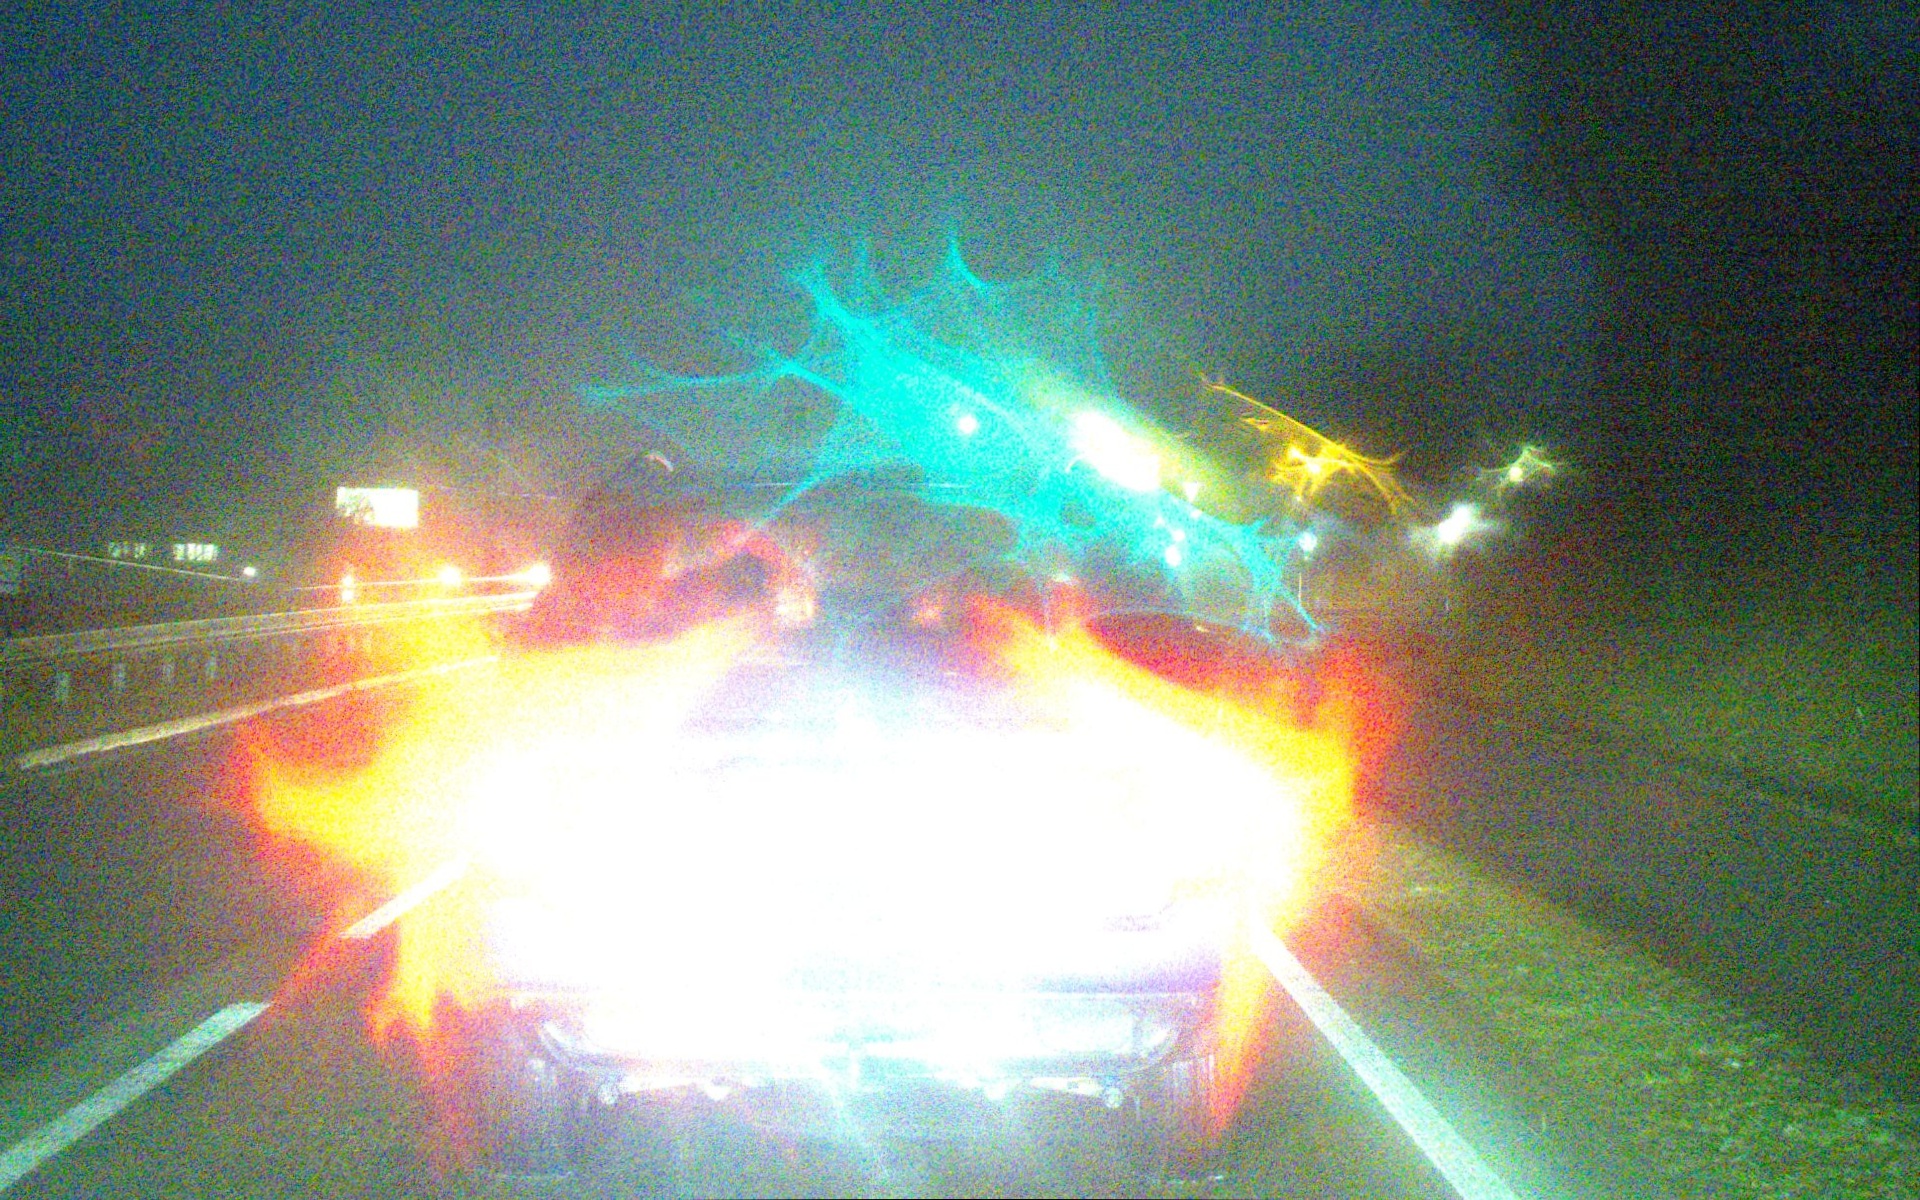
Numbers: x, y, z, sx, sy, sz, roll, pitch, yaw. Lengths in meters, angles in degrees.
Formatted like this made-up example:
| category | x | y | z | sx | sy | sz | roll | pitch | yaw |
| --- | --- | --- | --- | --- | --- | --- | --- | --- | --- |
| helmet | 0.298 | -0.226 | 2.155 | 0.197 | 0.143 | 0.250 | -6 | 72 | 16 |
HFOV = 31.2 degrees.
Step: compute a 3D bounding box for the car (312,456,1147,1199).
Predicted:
| category | x | y | z | sx | sy | sz | roll | pitch | yaw |
| --- | --- | --- | --- | --- | --- | --- | --- | --- | --- |
| car | -0.499 | 0.543 | 9.380 | 1.775 | 1.706 | 4.000 | 1 | 0 | 0 |
